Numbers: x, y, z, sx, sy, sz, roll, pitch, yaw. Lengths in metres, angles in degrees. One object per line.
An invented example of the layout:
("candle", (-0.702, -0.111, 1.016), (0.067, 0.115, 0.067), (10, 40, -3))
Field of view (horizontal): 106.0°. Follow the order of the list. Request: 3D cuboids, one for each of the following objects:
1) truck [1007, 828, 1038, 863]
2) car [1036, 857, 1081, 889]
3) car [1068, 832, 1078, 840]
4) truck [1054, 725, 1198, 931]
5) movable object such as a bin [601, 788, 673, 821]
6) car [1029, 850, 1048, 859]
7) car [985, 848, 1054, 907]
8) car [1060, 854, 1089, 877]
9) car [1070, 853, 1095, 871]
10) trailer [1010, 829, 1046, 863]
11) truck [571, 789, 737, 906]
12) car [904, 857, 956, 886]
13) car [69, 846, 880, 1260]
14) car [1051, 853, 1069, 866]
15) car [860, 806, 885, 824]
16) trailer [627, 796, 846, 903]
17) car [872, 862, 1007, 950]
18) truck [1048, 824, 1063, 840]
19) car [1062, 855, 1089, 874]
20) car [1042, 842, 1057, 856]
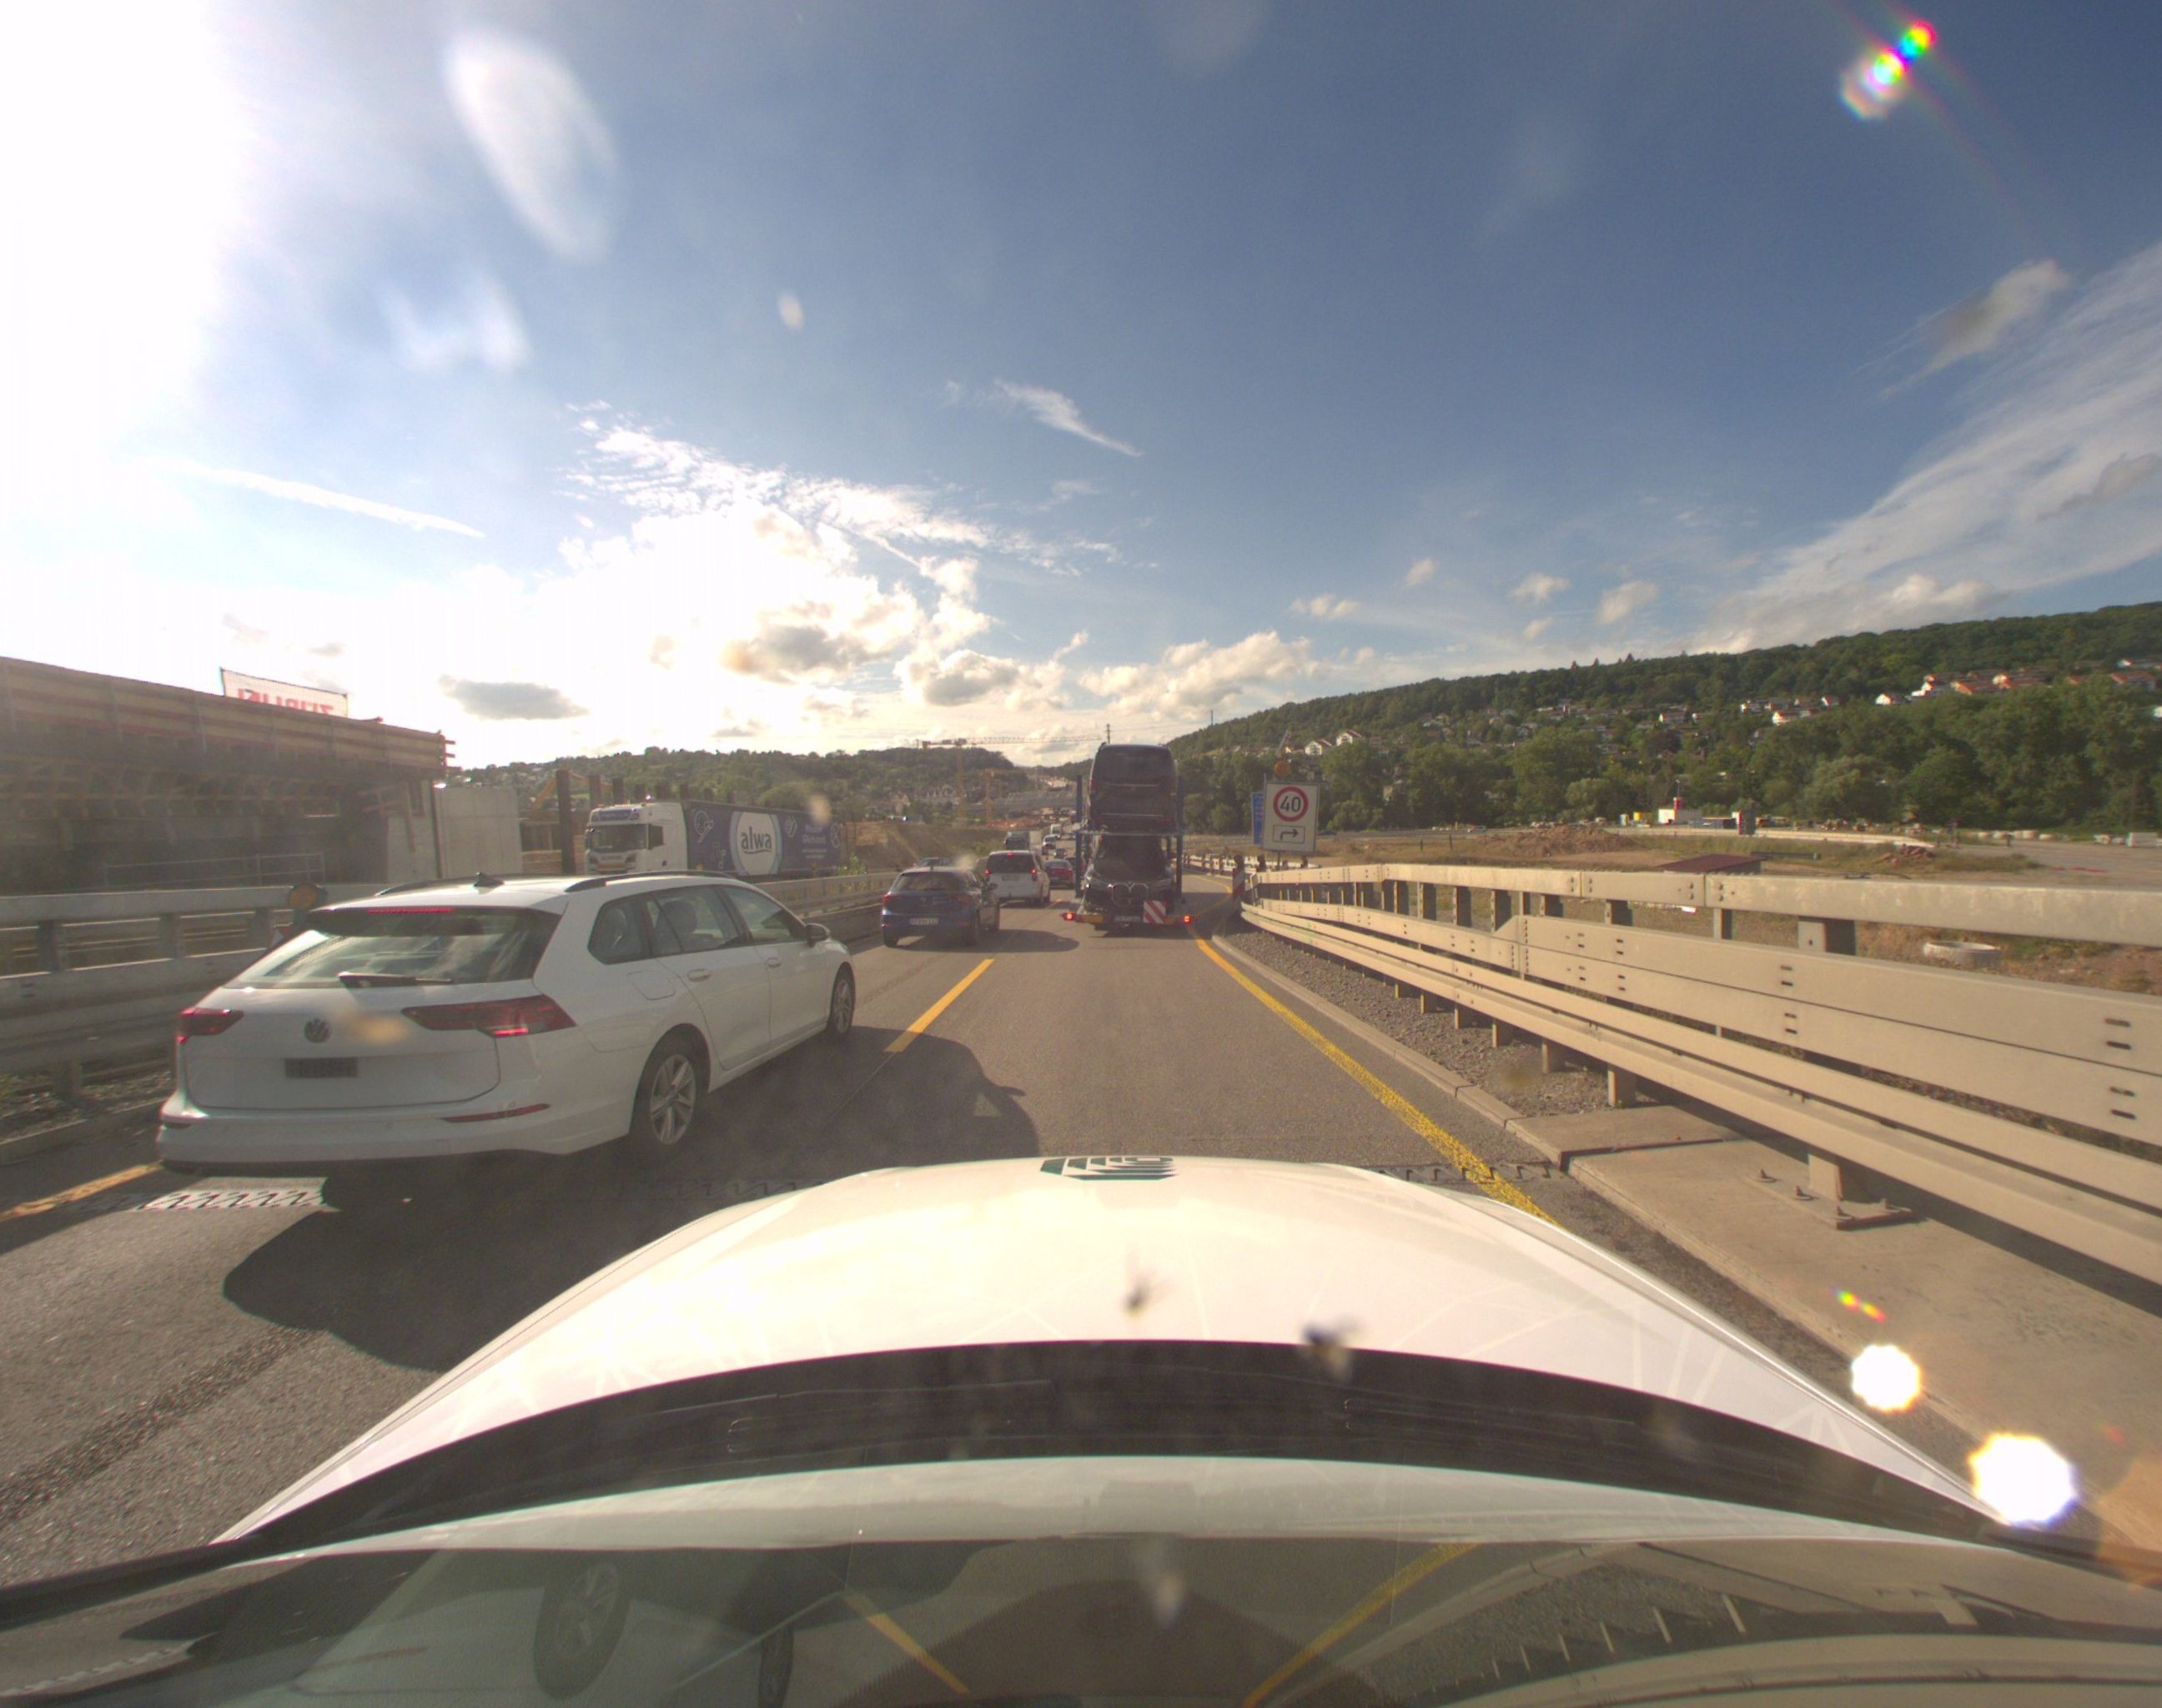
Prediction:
("truck", (-6.672, -0.917, 93.154), (2.765, 3.788, 6.022), (-1, -1, 3))
("car", (-1.104, 0.973, 41.957), (1.986, 1.556, 4.403), (-1, -1, 2))
("car", (-1.765, -3.958, 179.583), (2.118, 1.673, 4.275), (-1, 2, 2))
("truck", (1.353, -0.376, 25.132), (2.742, 3.955, 18.901), (0, -1, 3))
("movable object such as a bin", (-51.478, -5.703, 94.595), (5.706, 3.270, 4.526), (-1, -1, 13))
("car", (-6.534, 0.130, 124.602), (1.907, 1.273, 4.012), (-1, -1, 11))
("car", (-1.974, 0.761, 27.241), (1.815, 1.792, 4.002), (-1, -1, 3))
("car", (-0.486, 0.804, 57.394), (1.988, 1.552, 3.997), (0, -1, -2))
("car", (0.164, 0.762, 73.574), (1.985, 1.552, 4.003), (-1, -1, 3))
("trailer", (-6.295, -0.839, 99.301), (2.809, 3.841, 13.812), (-1, -1, 3))
("truck", (-16.412, -0.171, 31.871), (2.696, 4.138, 5.984), (-1, -1, 9))
("car", (-9.761, 1.120, 52.929), (1.912, 1.767, 4.338), (-1, -1, 9))
("car", (-2.859, 0.810, 5.326), (1.763, 1.491, 4.518), (-2, -2, 2))
("car", (-2.928, 0.815, 115.039), (1.983, 1.726, 4.129), (-1, -1, 6))
("car", (-30.000, -5.630, 117.406), (1.987, 2.140, 5.322), (-6, -1, 1))
("trailer", (-15.422, -0.082, 38.570), (2.672, 4.156, 13.843), (-1, -1, 8))
("car", (-2.619, 0.925, 16.019), (1.715, 1.422, 4.003), (-2, 0, 3))
("truck", (-5.651, -4.889, 181.057), (2.690, 3.312, 7.539), (-1, -1, 2))
("car", (-0.399, 0.861, 66.522), (1.985, 1.552, 4.003), (-1, -1, 3))
("car", (-5.728, -0.824, 148.359), (2.249, 2.402, 5.870), (-1, -1, 2))
